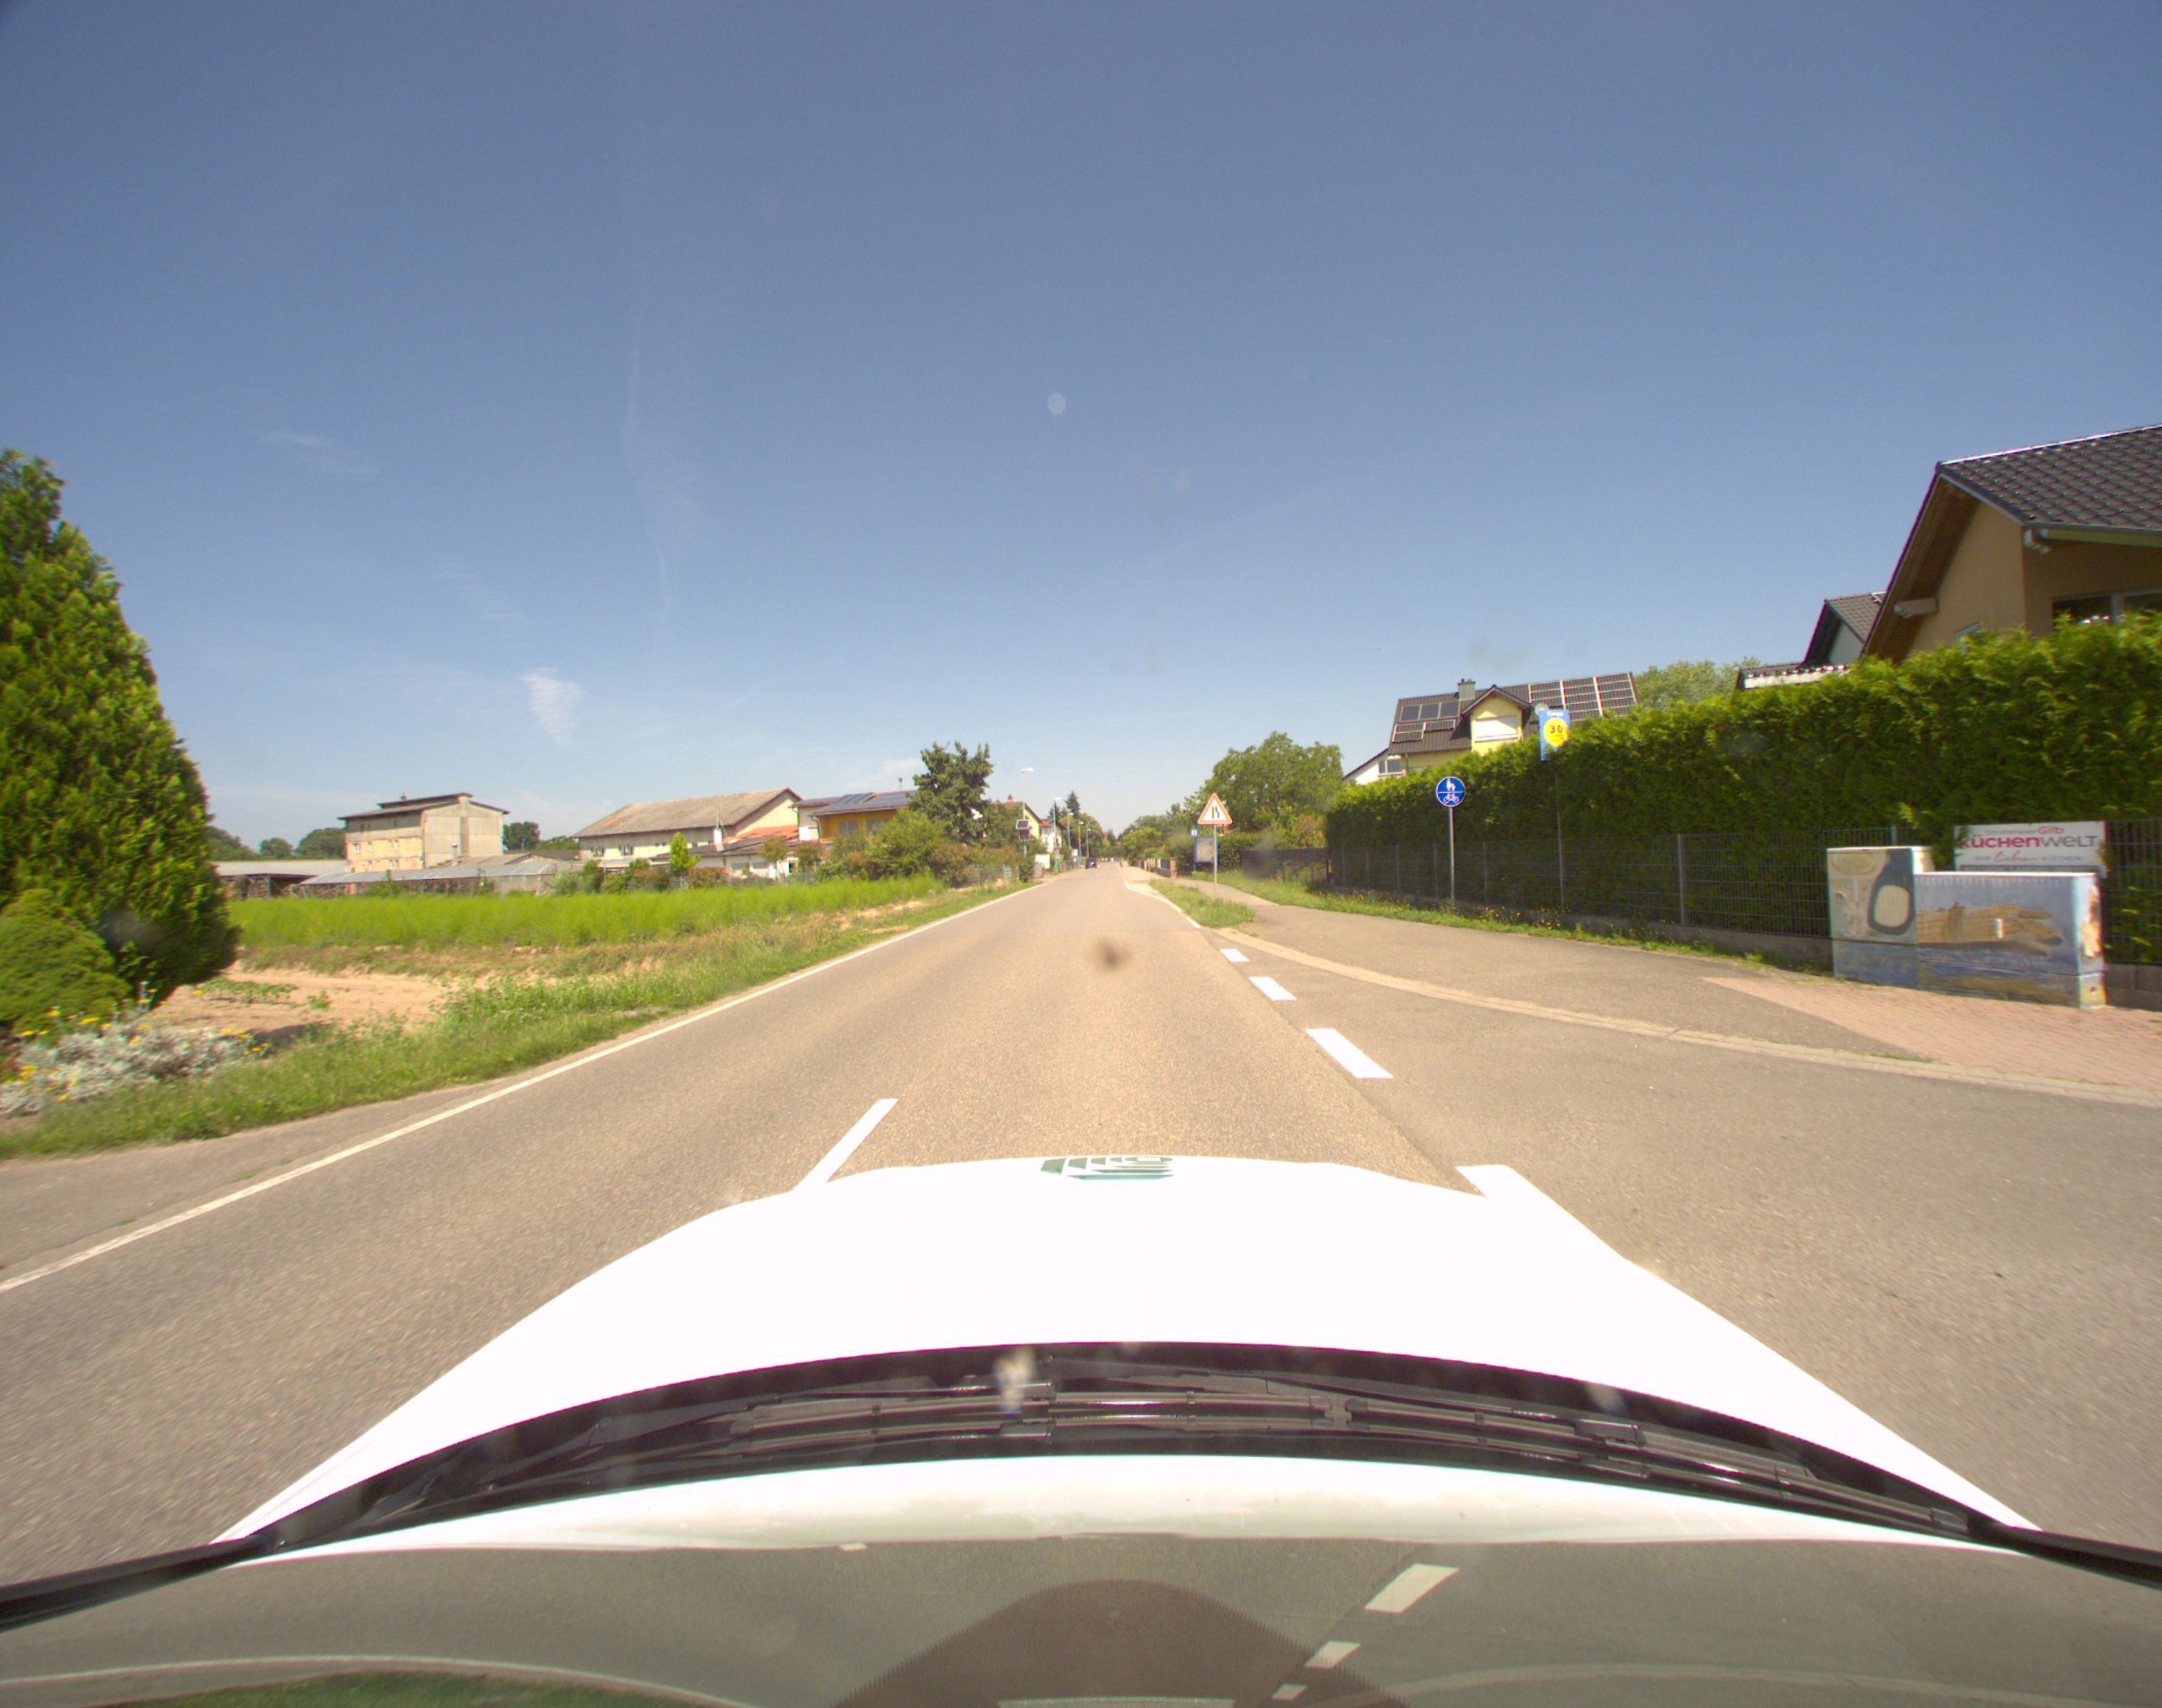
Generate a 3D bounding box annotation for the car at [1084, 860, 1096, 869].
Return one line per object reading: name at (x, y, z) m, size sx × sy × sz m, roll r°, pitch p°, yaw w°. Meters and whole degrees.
car at (1.504, 1.671, 134.398) m, size 1.752 × 1.385 × 3.454 m, roll -3°, pitch 0°, yaw 2°
